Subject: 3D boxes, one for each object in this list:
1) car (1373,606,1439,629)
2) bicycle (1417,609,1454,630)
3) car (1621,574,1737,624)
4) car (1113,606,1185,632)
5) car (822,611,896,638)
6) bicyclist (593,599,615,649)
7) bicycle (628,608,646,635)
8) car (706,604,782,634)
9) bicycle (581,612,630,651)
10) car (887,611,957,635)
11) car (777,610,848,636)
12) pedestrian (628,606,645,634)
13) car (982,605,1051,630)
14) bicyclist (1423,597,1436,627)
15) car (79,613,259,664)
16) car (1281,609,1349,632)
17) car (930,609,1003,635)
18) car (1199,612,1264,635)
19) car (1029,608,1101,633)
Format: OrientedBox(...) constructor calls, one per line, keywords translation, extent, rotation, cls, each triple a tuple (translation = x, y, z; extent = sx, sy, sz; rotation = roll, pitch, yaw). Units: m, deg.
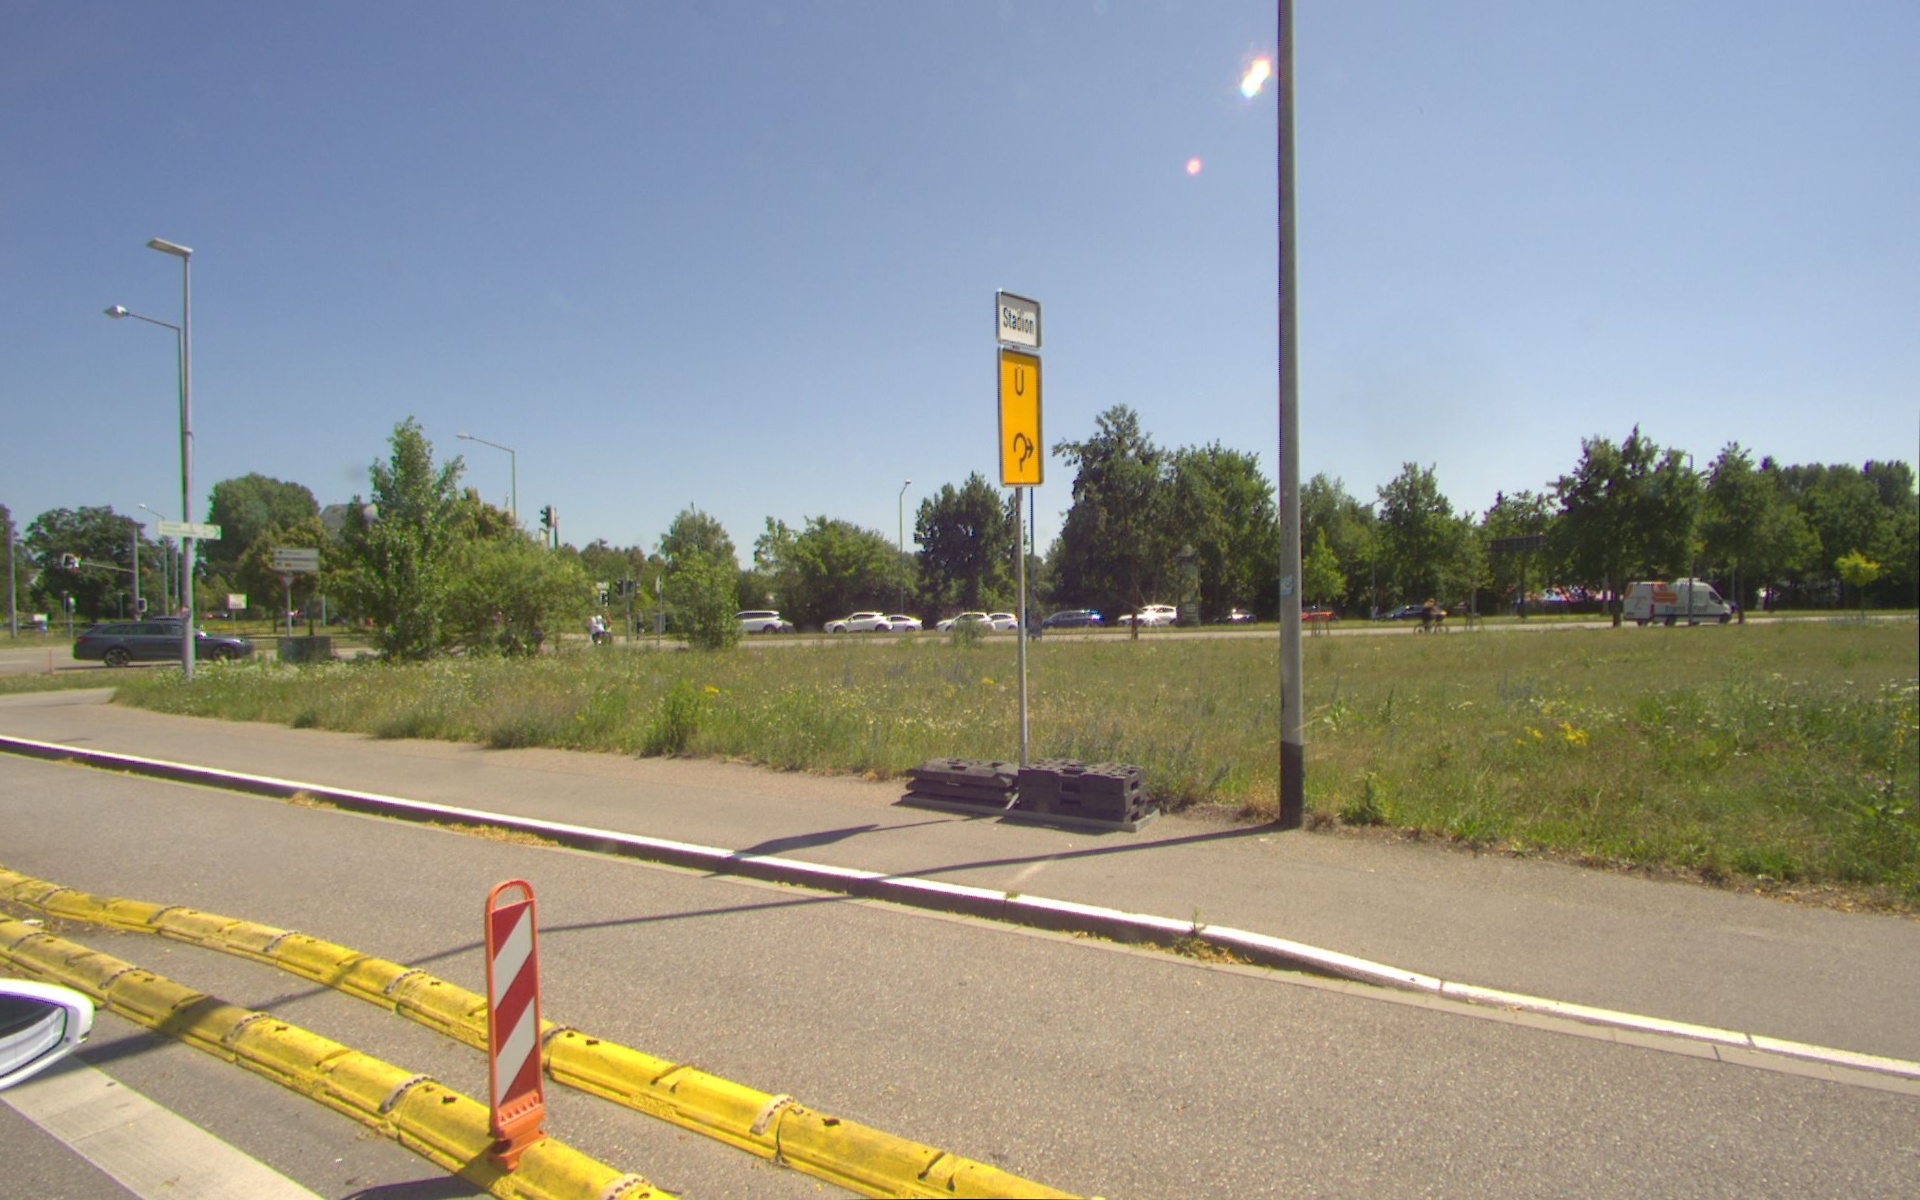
OrientedBox(translation=(33.093, 1.313, 74.339), extent=(4.365, 1.612, 1.846), rotation=(0, -2, -16), cls="car")
OrientedBox(translation=(21.135, 0.864, 44.491), extent=(1.564, 0.895, 0.369), rotation=(0, -1, -10), cls="bicycle")
OrientedBox(translation=(43.080, 0.003, 59.965), extent=(6.764, 2.864, 1.997), rotation=(0, -1, -18), cls="car")
OrientedBox(translation=(12.297, 1.239, 65.153), extent=(4.374, 1.612, 1.843), rotation=(1, -2, -24), cls="car")
OrientedBox(translation=(-6.356, 1.545, 62.870), extent=(4.365, 1.612, 1.846), rotation=(0, -2, -16), cls="car")
OrientedBox(translation=(-13.298, 0.910, 37.396), extent=(0.597, 1.864, 0.572), rotation=(0, -1, 2), cls="bicyclist")
OrientedBox(translation=(-20.036, 1.370, 62.181), extent=(0.967, 1.617, 2.879), rotation=(0, -2, -16), cls="bicycle")
OrientedBox(translation=(-13.039, 1.158, 60.496), extent=(4.365, 1.758, 1.846), rotation=(0, -2, -16), cls="car")
OrientedBox(translation=(-13.161, 1.175, 37.303), extent=(0.628, 1.370, 2.896), rotation=(0, -2, 4), cls="bicycle")
OrientedBox(translation=(-2.521, 1.551, 66.771), extent=(4.365, 1.612, 1.846), rotation=(0, -2, -16), cls="car")
OrientedBox(translation=(-9.557, 1.498, 64.810), extent=(4.365, 1.612, 1.846), rotation=(0, -2, -16), cls="car")
OrientedBox(translation=(-20.068, 1.240, 62.160), extent=(0.954, 1.681, 0.885), rotation=(0, -1, -16), cls="pedestrian")
OrientedBox(translation=(3.898, 1.200, 69.154), extent=(4.365, 1.613, 1.845), rotation=(0, 0, -16), cls="car")
OrientedBox(translation=(20.846, 0.545, 44.460), extent=(0.349, 1.336, 0.379), rotation=(0, -1, -9), cls="bicyclist")
OrientedBox(translation=(-25.821, 1.203, 32.781), extent=(4.496, 1.500, 2.052), rotation=(0, 0, -43), cls="car")
OrientedBox(translation=(25.649, 1.466, 72.375), extent=(4.337, 1.612, 1.846), rotation=(0, -2, -16), cls="car")
OrientedBox(translation=(0.403, 1.436, 64.834), extent=(4.365, 1.612, 1.846), rotation=(0, -2, -16), cls="car")
OrientedBox(translation=(19.982, 1.747, 73.725), extent=(4.365, 1.612, 1.846), rotation=(0, -2, -16), cls="car")
OrientedBox(translation=(6.973, 1.353, 66.555), extent=(4.365, 1.612, 1.846), rotation=(0, -2, -16), cls="car")
